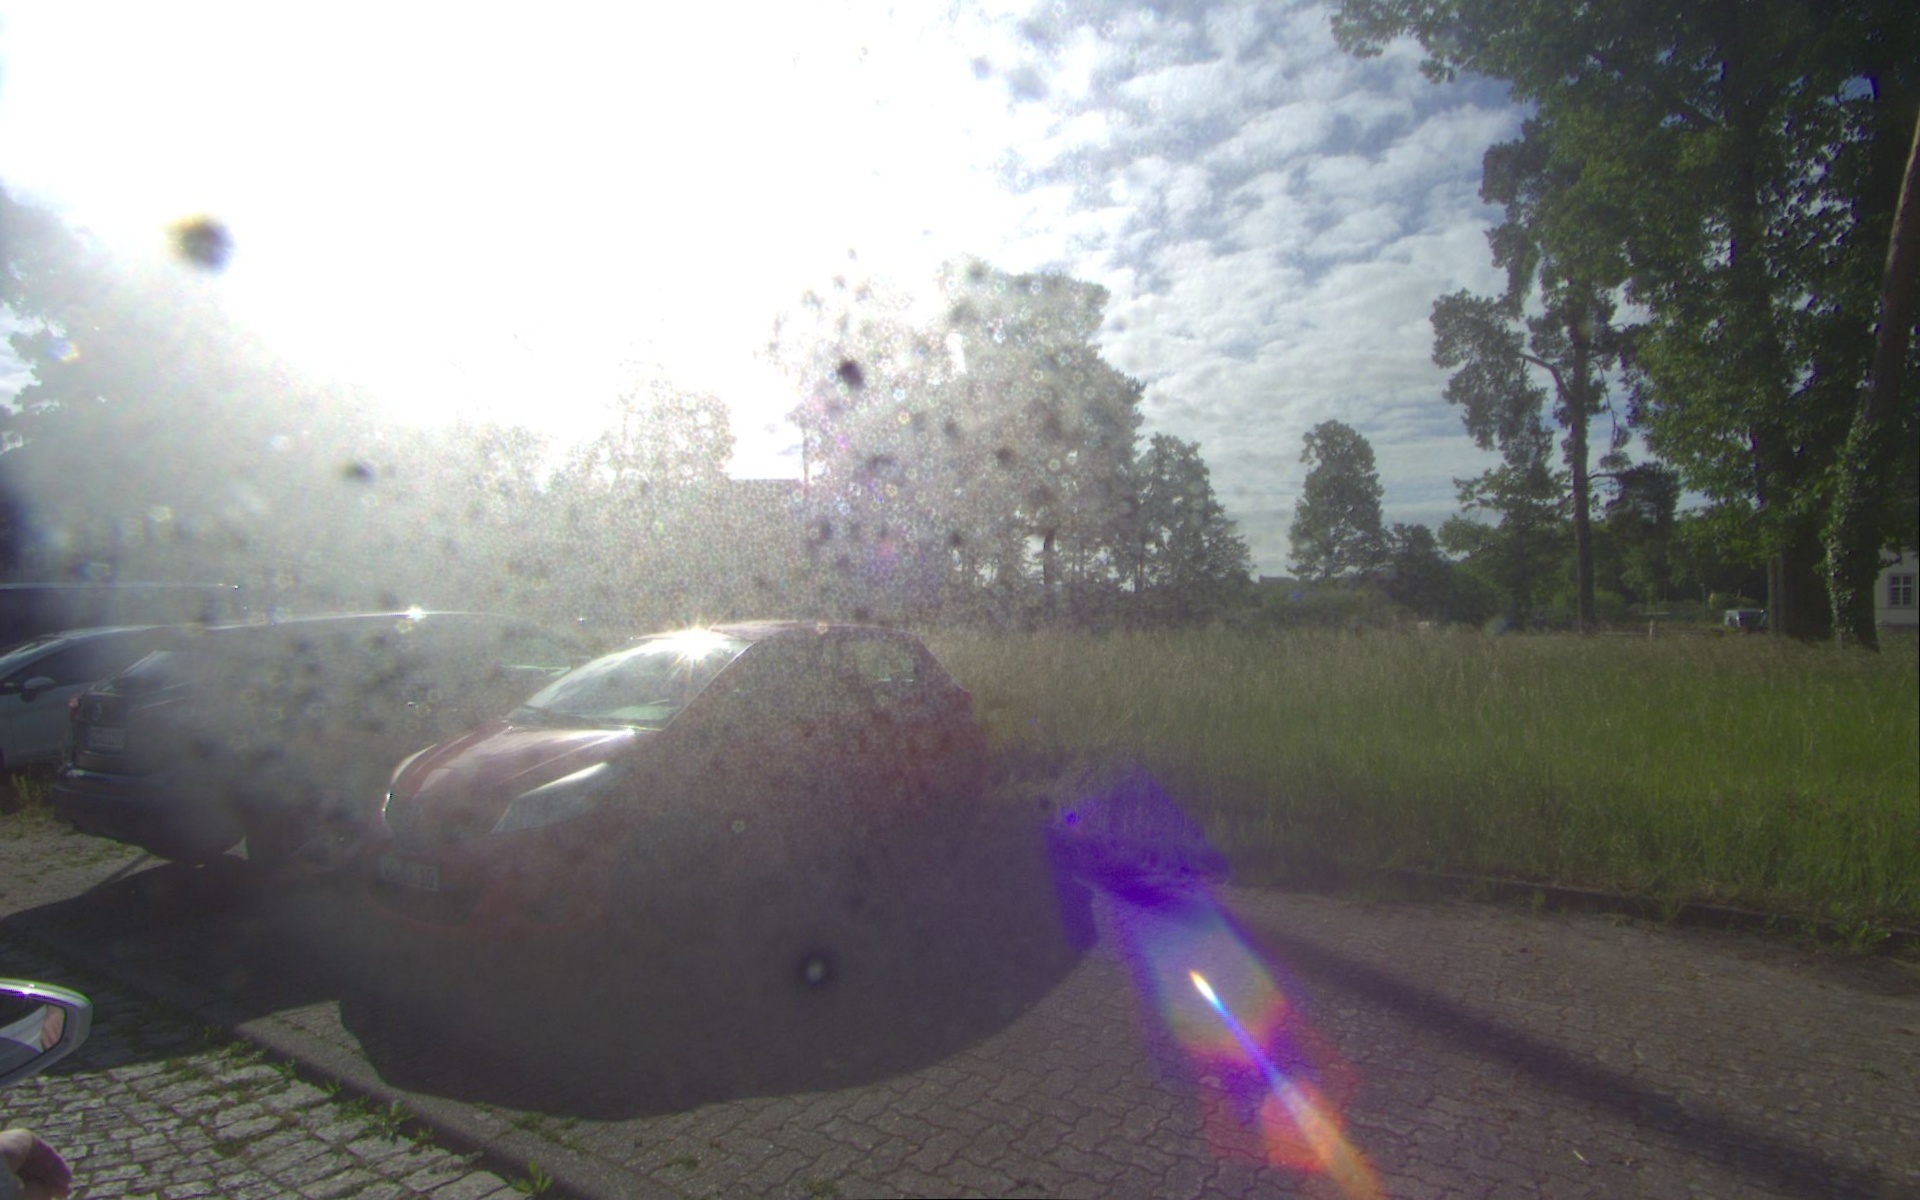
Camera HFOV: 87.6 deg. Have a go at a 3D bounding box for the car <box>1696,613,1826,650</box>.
[{"bbox_3d":[50.534,2.011,63.330,2.344,2.199,5.979,1,-2,-33],"label":"car"}]

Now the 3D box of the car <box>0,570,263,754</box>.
[{"bbox_3d":[-11.335,0.693,11.853,2.052,2.040,4.672,0,-1,29],"label":"car"}]

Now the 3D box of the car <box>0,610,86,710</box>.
[{"bbox_3d":[-15.542,0.931,14.753,1.622,1.485,3.685,0,1,33],"label":"car"}]

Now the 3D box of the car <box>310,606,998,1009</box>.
[{"bbox_3d":[-1.395,0.830,5.883,1.621,1.550,3.756,0,-1,32],"label":"car"}]

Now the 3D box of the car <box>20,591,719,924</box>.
[{"bbox_3d":[-3.743,0.810,7.084,1.746,1.643,3.930,0,-1,31],"label":"car"}]

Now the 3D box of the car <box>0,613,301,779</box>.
[{"bbox_3d":[-9.195,0.901,10.297,1.620,1.508,3.714,0,0,30],"label":"car"}]

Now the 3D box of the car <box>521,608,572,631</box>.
[{"bbox_3d":[-38.031,1.802,92.141,1.971,2.040,3.980,0,-1,32],"label":"car"}]

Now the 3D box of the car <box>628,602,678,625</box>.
[{"bbox_3d":[-27.746,1.244,90.631,1.971,2.040,3.980,0,-1,32],"label":"car"}]

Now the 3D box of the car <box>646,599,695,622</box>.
[{"bbox_3d":[-25.860,0.933,89.489,1.971,2.040,3.980,0,-1,32],"label":"car"}]
